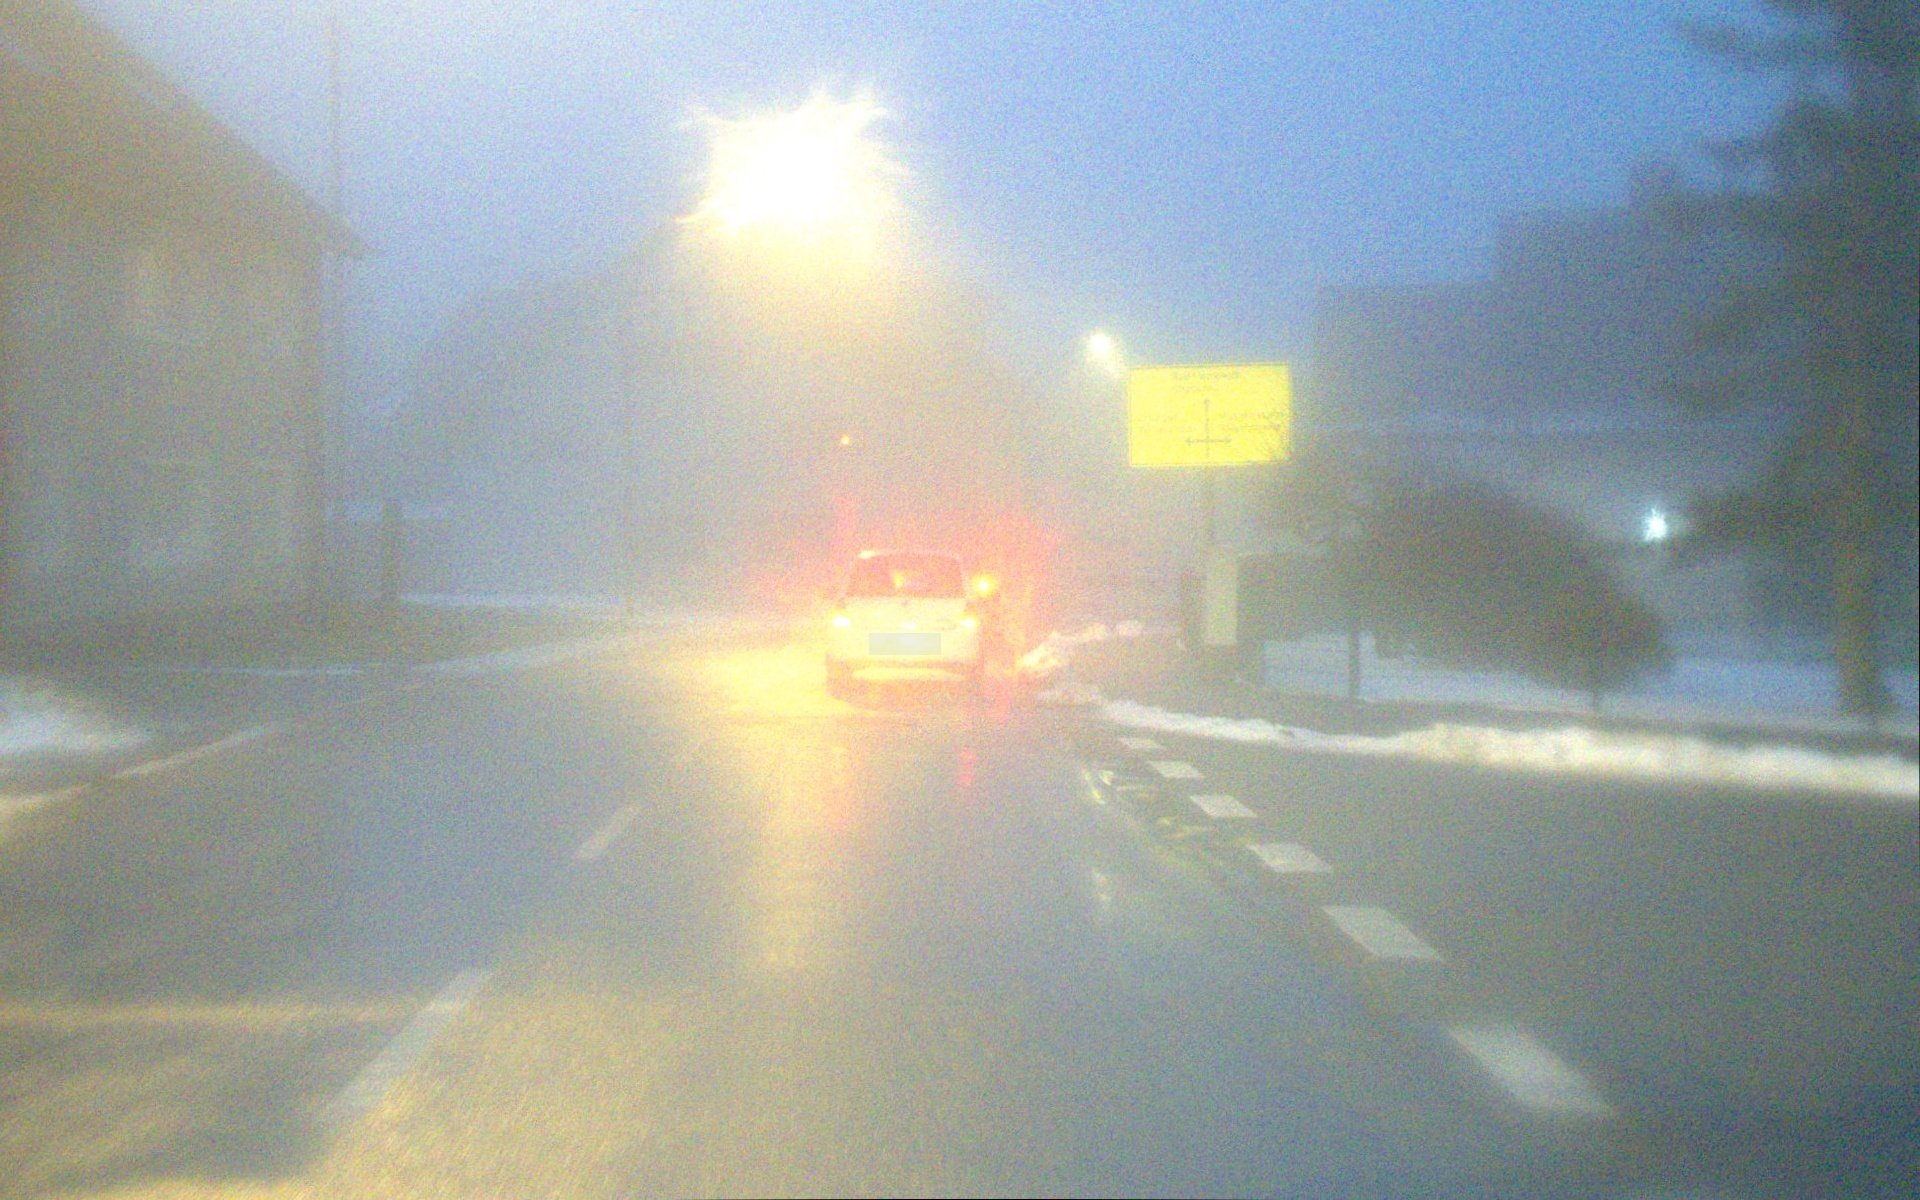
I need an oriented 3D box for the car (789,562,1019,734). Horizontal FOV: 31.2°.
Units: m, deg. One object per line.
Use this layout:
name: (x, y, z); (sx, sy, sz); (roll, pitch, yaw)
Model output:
car: (-0.520, 0.455, 35.934); (1.994, 1.503, 4.000); (-2, 2, 4)
